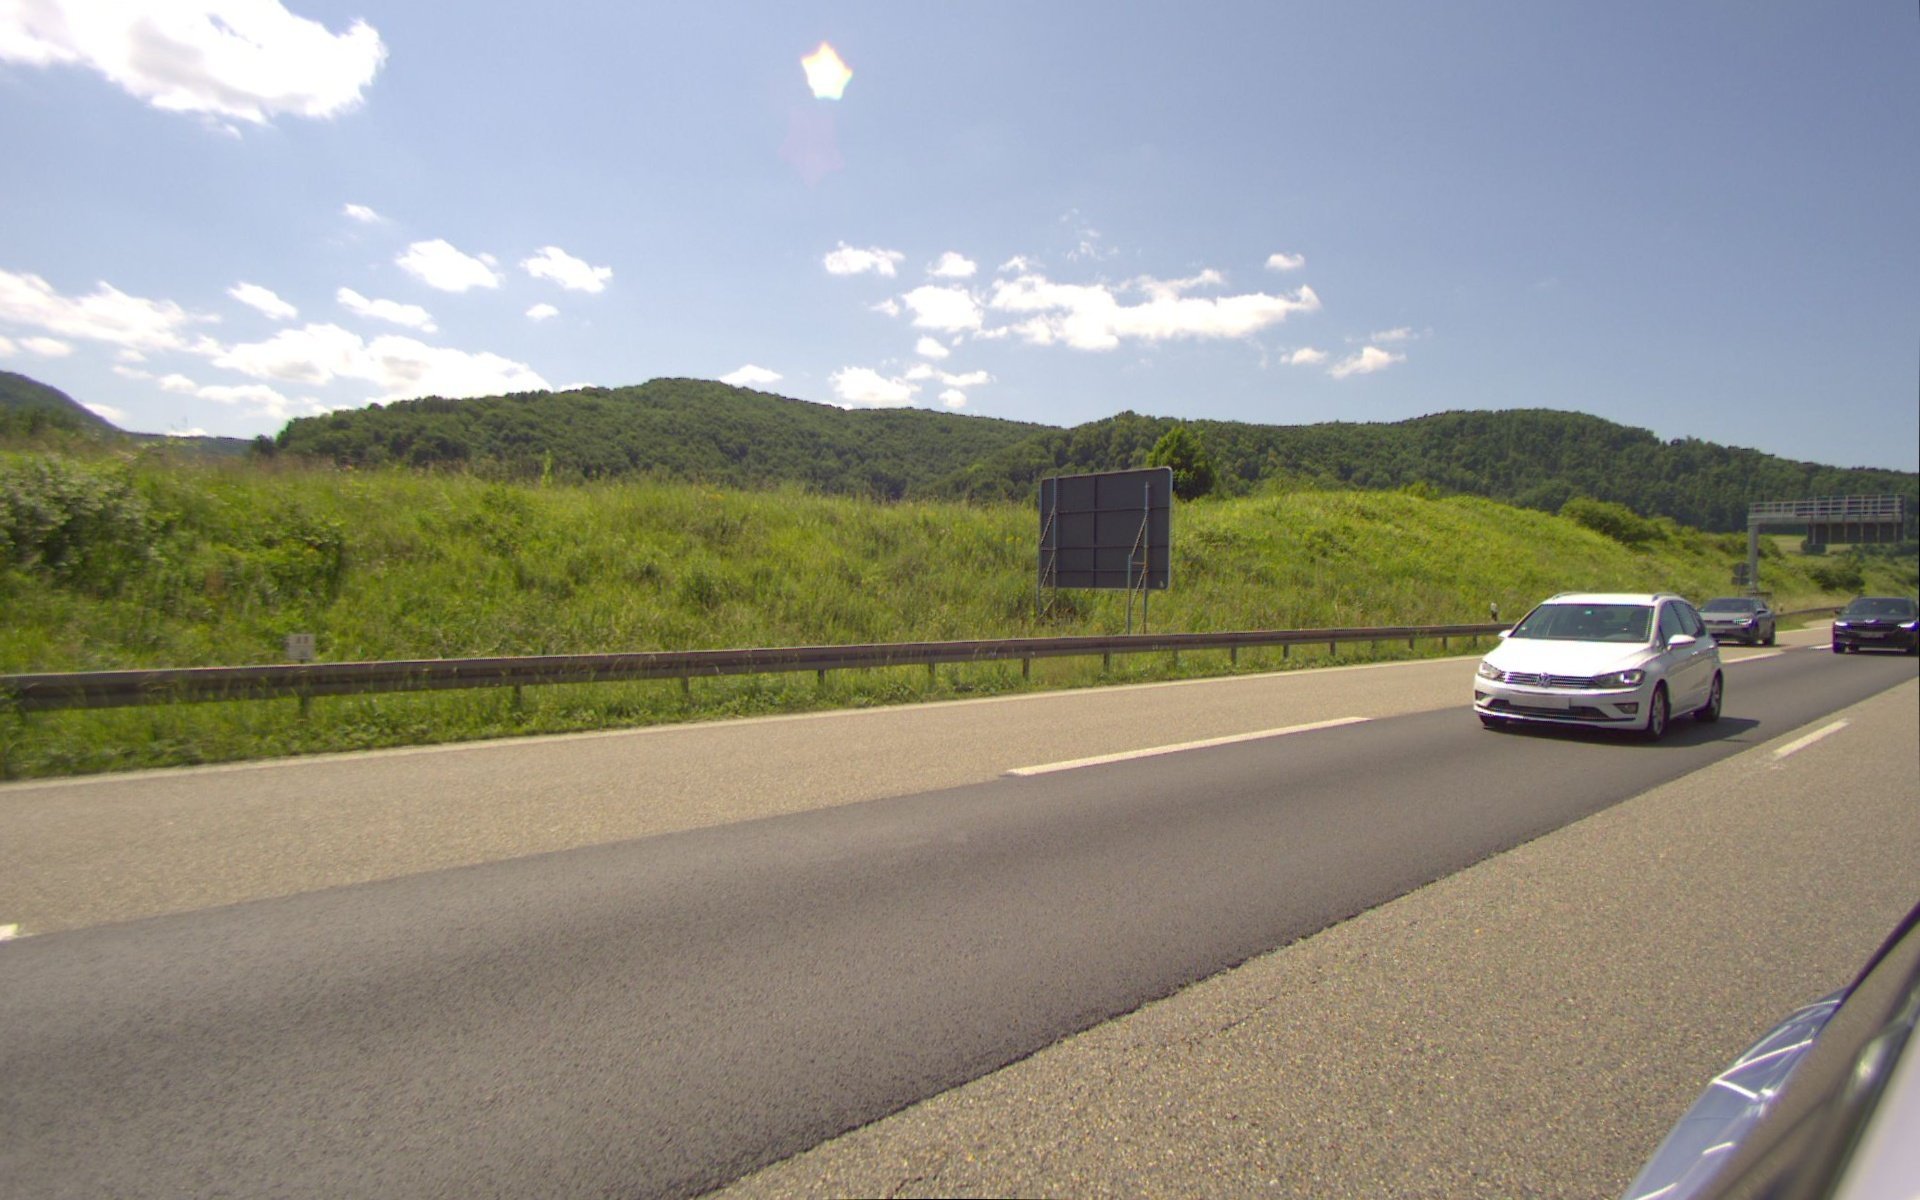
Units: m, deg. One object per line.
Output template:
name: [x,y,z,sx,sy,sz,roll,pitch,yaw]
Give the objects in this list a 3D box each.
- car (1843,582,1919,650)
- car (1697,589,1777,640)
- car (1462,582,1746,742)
car: [26.734,0.426,28.870,4.100,1.794,1.891,0,1,-43]
car: [26.210,0.450,34.097,1.679,1.615,4.181,0,1,44]
car: [7.649,0.588,11.879,3.984,1.560,1.775,0,1,-41]
